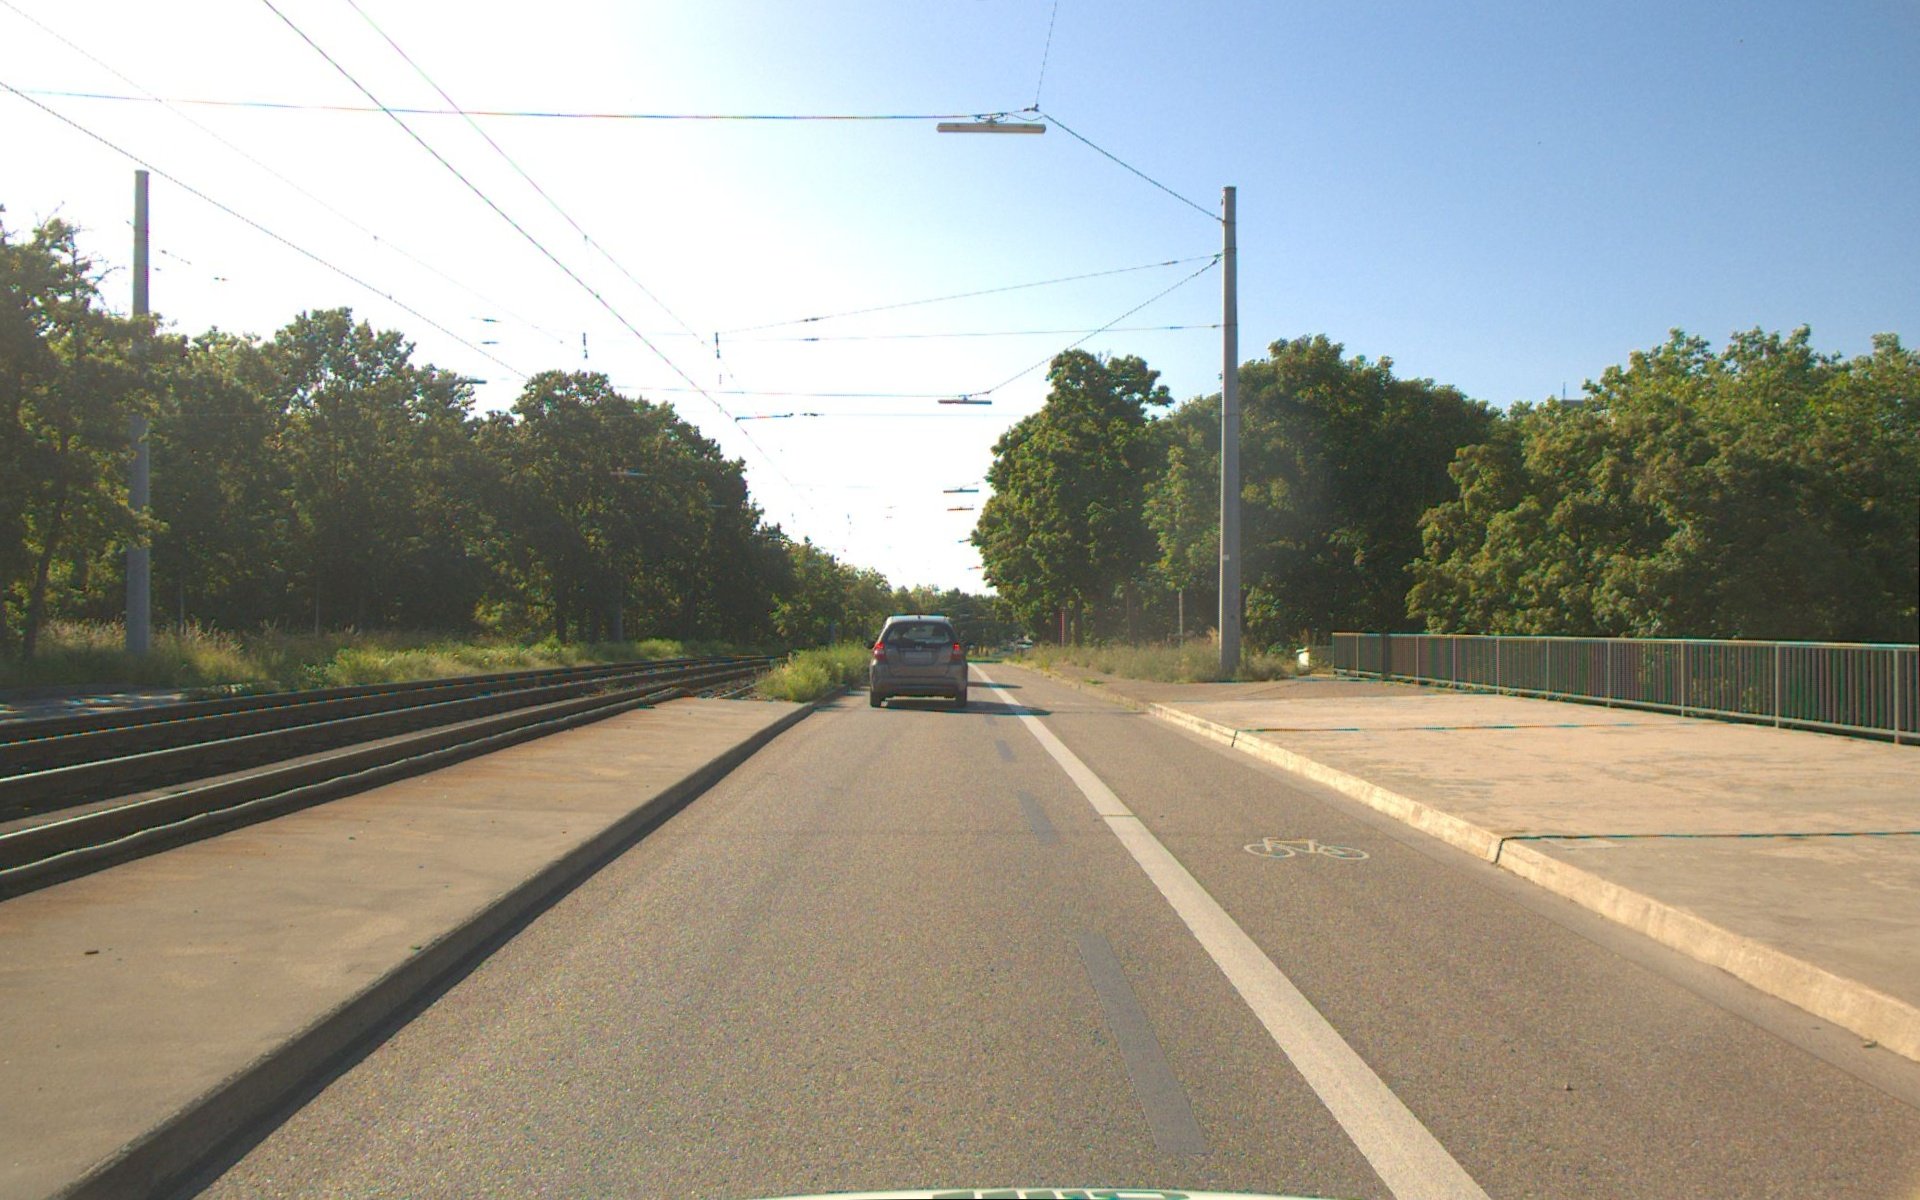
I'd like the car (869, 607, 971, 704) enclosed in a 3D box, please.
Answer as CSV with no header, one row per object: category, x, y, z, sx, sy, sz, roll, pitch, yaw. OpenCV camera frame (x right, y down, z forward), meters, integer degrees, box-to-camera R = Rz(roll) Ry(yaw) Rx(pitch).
car,-0.653,0.968,28.983,1.636,1.534,3.810,2,-2,0

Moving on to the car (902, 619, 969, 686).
car,-0.611,1.322,42.997,1.621,1.534,3.811,2,1,0
